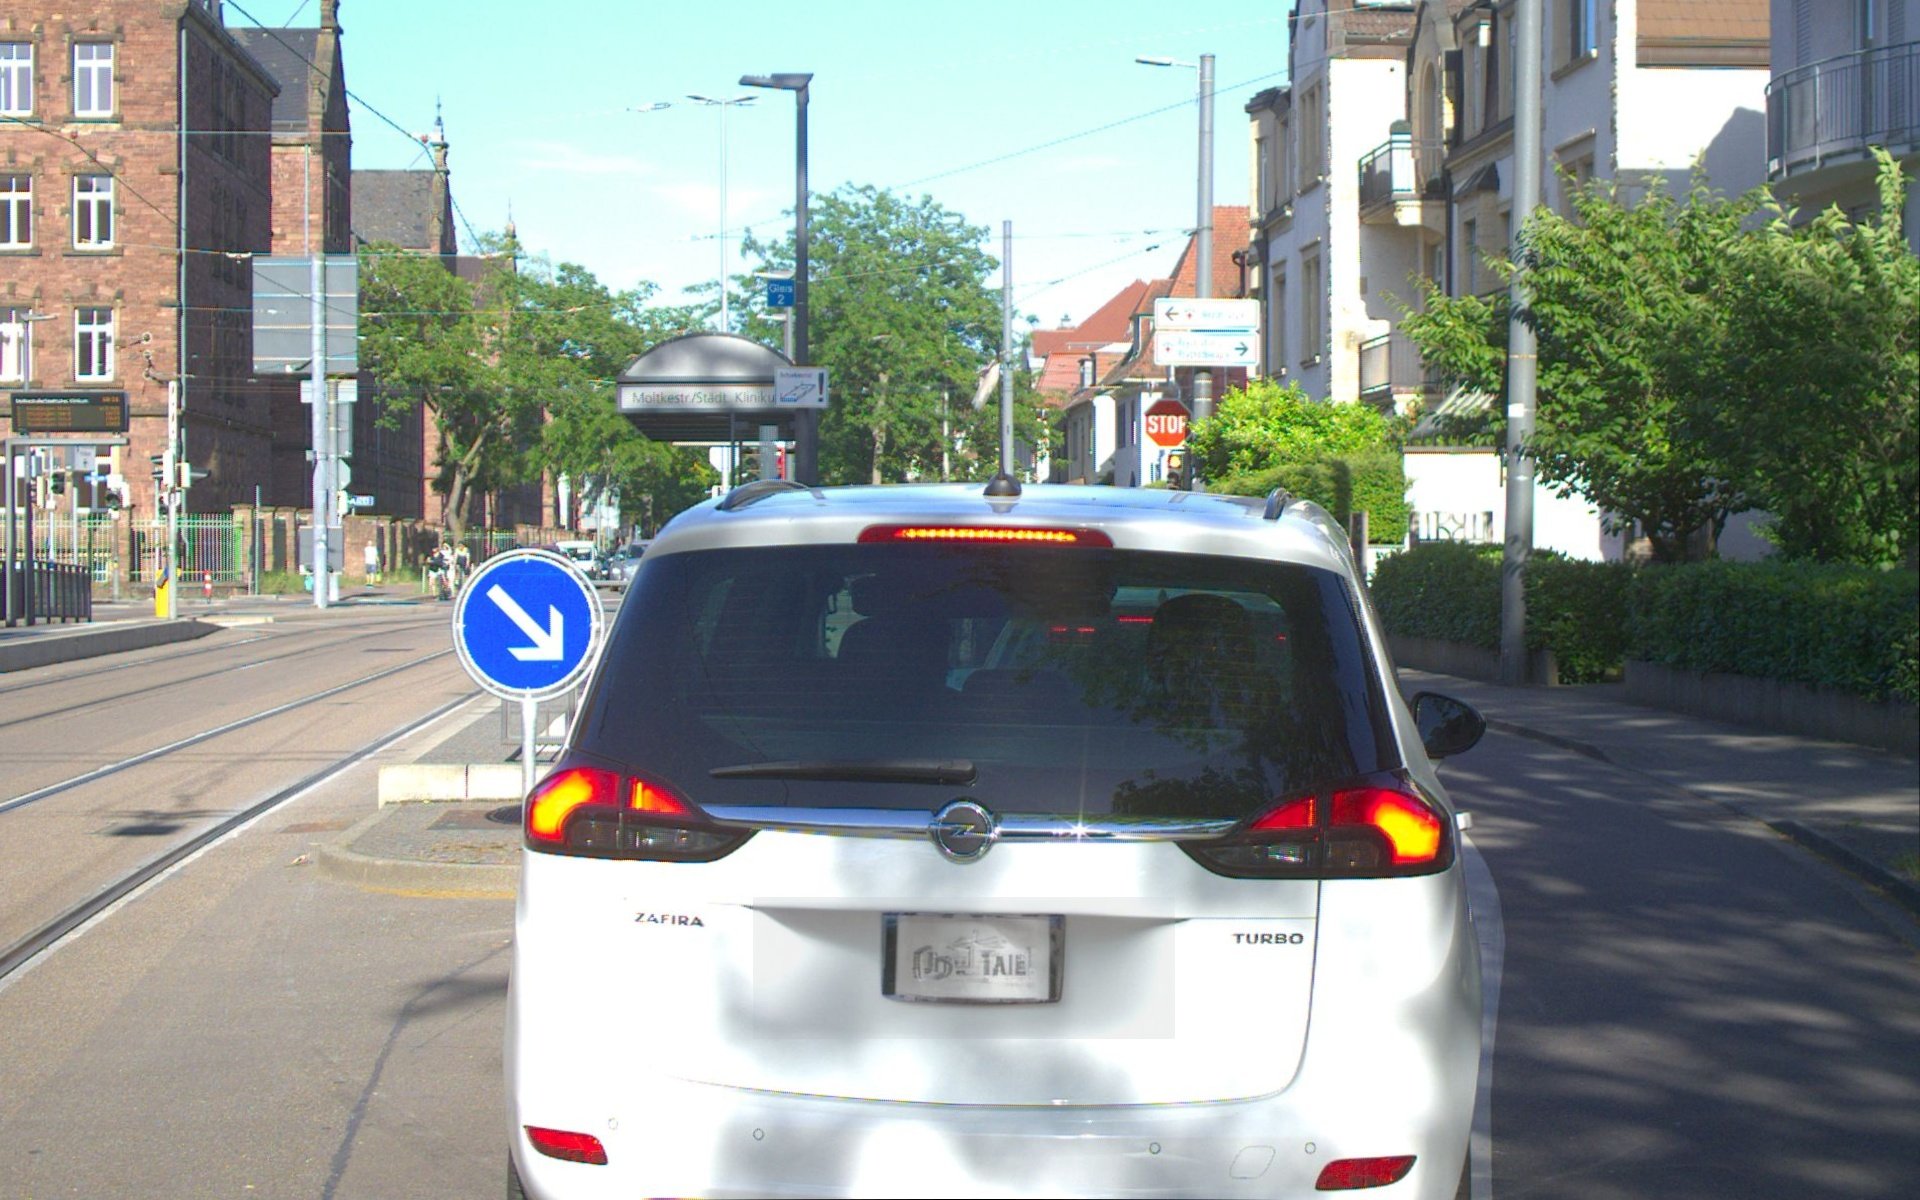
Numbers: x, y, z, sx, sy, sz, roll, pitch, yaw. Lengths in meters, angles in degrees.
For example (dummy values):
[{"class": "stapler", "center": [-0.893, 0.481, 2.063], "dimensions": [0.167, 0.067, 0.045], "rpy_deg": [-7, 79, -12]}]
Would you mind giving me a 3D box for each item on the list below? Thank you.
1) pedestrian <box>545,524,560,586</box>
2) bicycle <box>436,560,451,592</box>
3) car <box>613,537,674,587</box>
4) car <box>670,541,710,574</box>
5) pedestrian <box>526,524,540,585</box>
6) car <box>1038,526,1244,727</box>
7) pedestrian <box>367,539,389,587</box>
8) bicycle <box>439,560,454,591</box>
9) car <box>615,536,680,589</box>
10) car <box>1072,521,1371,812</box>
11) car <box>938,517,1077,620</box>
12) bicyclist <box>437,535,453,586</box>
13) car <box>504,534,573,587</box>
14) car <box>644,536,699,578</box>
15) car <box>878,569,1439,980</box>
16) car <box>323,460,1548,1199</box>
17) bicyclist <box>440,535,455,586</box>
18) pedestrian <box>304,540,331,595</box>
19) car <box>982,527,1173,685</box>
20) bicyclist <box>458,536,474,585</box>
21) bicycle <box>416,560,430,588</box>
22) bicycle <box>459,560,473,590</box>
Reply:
[{"class": "pedestrian", "center": [-13.309, -1.478, 112.247], "dimensions": [0.444, 2.007, 0.496], "rpy_deg": [0, 1, -4]}, {"class": "bicycle", "center": [-15.479, -0.720, 103.083], "dimensions": [0.344, 0.946, 1.160], "rpy_deg": [1, 0, -4]}, {"class": "car", "center": [-10.530, -1.278, 114.417], "dimensions": [1.993, 1.623, 4.001], "rpy_deg": [0, 1, -5]}, {"class": "car", "center": [-13.851, -2.189, 176.090], "dimensions": [1.993, 1.623, 3.989], "rpy_deg": [0, 1, -5]}, {"class": "pedestrian", "center": [-13.904, -1.483, 111.968], "dimensions": [0.444, 2.007, 0.496], "rpy_deg": [0, 1, -4]}, {"class": "car", "center": [1.499, 0.176, 29.257], "dimensions": [1.637, 1.595, 3.854], "rpy_deg": [0, 1, 2]}, {"class": "pedestrian", "center": [-21.031, -1.341, 124.265], "dimensions": [0.734, 1.708, 0.754], "rpy_deg": [1, 0, -6]}, {"class": "bicycle", "center": [-15.926, -0.762, 106.615], "dimensions": [0.344, 0.946, 0.997], "rpy_deg": [1, 0, -4]}, {"class": "car", "center": [-9.733, -1.195, 107.311], "dimensions": [1.993, 1.623, 4.001], "rpy_deg": [0, 1, -5]}, {"class": "car", "center": [1.498, 0.329, 20.829], "dimensions": [1.637, 1.595, 3.854], "rpy_deg": [0, 1, 2]}, {"class": "car", "center": [0.671, -0.492, 51.760], "dimensions": [1.993, 1.497, 4.000], "rpy_deg": [0, 1, -1]}, {"class": "bicyclist", "center": [-15.471, -1.189, 103.283], "dimensions": [0.444, 1.548, 0.743], "rpy_deg": [0, 1, -4]}, {"class": "car", "center": [-13.113, -1.231, 107.087], "dimensions": [1.993, 1.623, 4.001], "rpy_deg": [0, 1, -5]}, {"class": "car", "center": [-11.439, -1.728, 136.639], "dimensions": [1.993, 1.623, 4.001], "rpy_deg": [0, 1, -2]}, {"class": "car", "center": [0.751, 0.588, 13.983], "dimensions": [1.953, 1.392, 4.000], "rpy_deg": [0, 1, 2]}, {"class": "car", "center": [0.143, 0.582, 7.603], "dimensions": [1.994, 1.639, 3.992], "rpy_deg": [1, 1, 6]}, {"class": "bicyclist", "center": [-15.890, -1.226, 106.566], "dimensions": [0.444, 1.548, 0.496], "rpy_deg": [0, 1, -4]}, {"class": "pedestrian", "center": [-19.943, -1.010, 106.708], "dimensions": [0.734, 1.708, 0.706], "rpy_deg": [1, 0, -7]}, {"class": "car", "center": [1.181, 0.022, 36.180], "dimensions": [1.830, 1.574, 4.010], "rpy_deg": [0, 1, -1]}, {"class": "bicyclist", "center": [-15.686, -1.250, 109.150], "dimensions": [0.444, 1.548, 0.496], "rpy_deg": [0, 1, -4]}, {"class": "bicycle", "center": [-17.983, -0.876, 115.140], "dimensions": [0.344, 0.946, 0.997], "rpy_deg": [1, 0, -4]}, {"class": "bicycle", "center": [-15.695, -0.785, 109.165], "dimensions": [0.344, 0.946, 0.997], "rpy_deg": [1, 0, -4]}]
